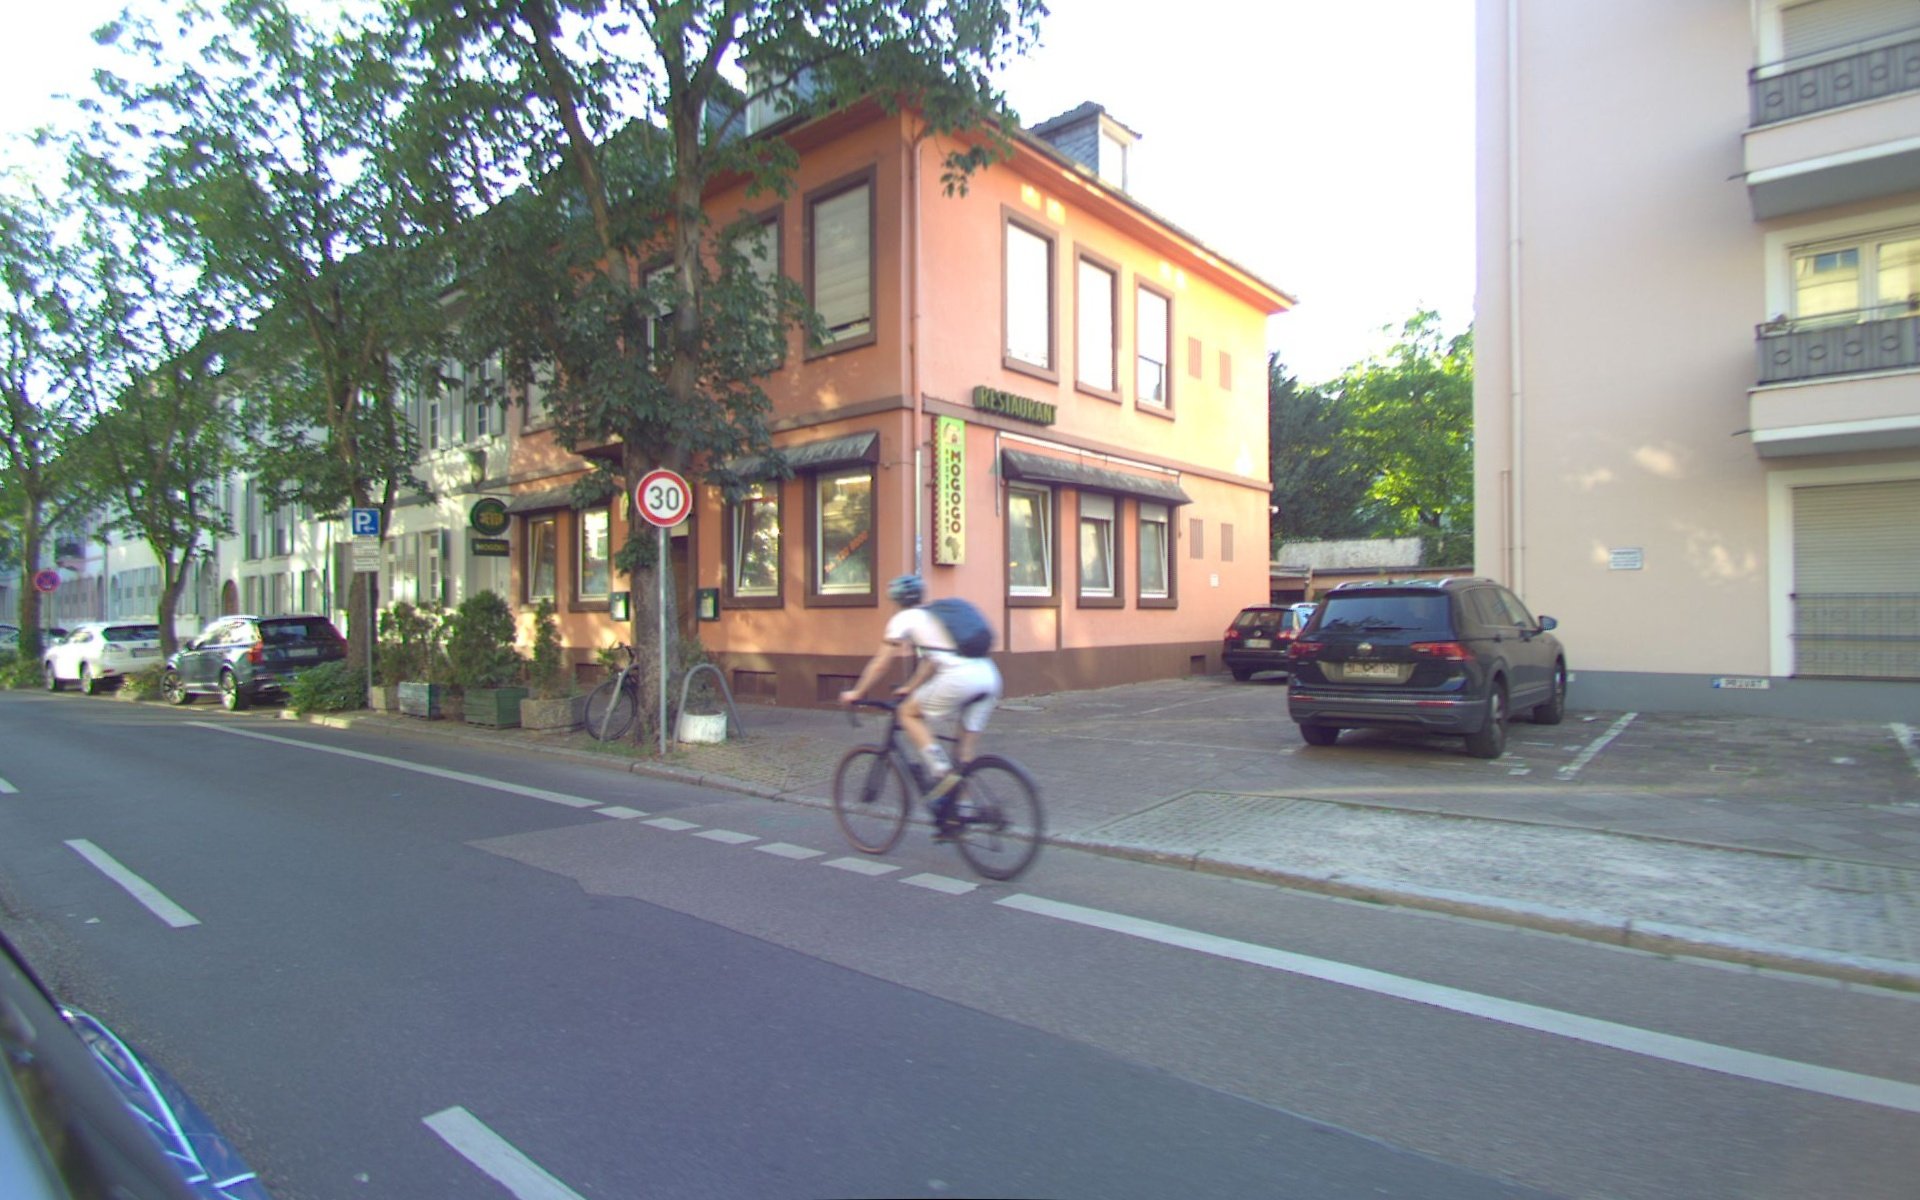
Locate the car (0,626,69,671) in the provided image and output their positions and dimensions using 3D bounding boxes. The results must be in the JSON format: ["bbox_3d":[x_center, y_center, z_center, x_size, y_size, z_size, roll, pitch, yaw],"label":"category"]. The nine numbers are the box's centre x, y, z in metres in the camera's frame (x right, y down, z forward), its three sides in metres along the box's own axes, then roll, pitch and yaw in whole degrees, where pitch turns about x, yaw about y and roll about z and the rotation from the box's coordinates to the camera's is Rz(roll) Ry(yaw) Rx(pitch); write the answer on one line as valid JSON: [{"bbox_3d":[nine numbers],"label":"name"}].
[{"bbox_3d":[-37.357,1.877,39.078,1.798,1.703,4.179,-1,-1,38],"label":"car"}]

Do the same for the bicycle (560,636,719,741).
[{"bbox_3d":[-3.811,1.013,12.168,0.609,1.112,1.851,-1,-1,34],"label":"bicycle"}]

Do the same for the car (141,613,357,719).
[{"bbox_3d":[-14.213,1.226,20.137,5.036,1.772,1.813,-1,2,35],"label":"car"}]

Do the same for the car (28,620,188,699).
[{"bbox_3d":[-21.176,1.413,25.099,4.645,1.680,1.813,-1,2,35],"label":"car"}]

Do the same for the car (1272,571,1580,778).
[{"bbox_3d":[5.023,0.582,10.546,1.862,1.678,4.375,-2,0,39],"label":"car"}]

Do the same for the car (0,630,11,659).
[{"bbox_3d":[-50.965,2.280,51.123,1.798,1.519,4.179,-1,-1,38],"label":"car"}]

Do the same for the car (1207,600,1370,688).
[{"bbox_3d":[6.572,0.808,20.020,1.884,1.567,3.763,-2,-1,38],"label":"car"}]

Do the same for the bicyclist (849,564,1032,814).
[{"bbox_3d":[-0.124,0.490,6.116,0.929,1.374,0.618,0,0,41],"label":"bicyclist"}]

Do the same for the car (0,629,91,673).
[{"bbox_3d":[-35.083,1.884,37.534,1.801,1.557,4.172,-2,-2,43],"label":"car"}]

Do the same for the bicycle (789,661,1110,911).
[{"bbox_3d":[-0.131,1.013,6.122,2.051,1.164,0.618,0,0,41],"label":"bicycle"}]
